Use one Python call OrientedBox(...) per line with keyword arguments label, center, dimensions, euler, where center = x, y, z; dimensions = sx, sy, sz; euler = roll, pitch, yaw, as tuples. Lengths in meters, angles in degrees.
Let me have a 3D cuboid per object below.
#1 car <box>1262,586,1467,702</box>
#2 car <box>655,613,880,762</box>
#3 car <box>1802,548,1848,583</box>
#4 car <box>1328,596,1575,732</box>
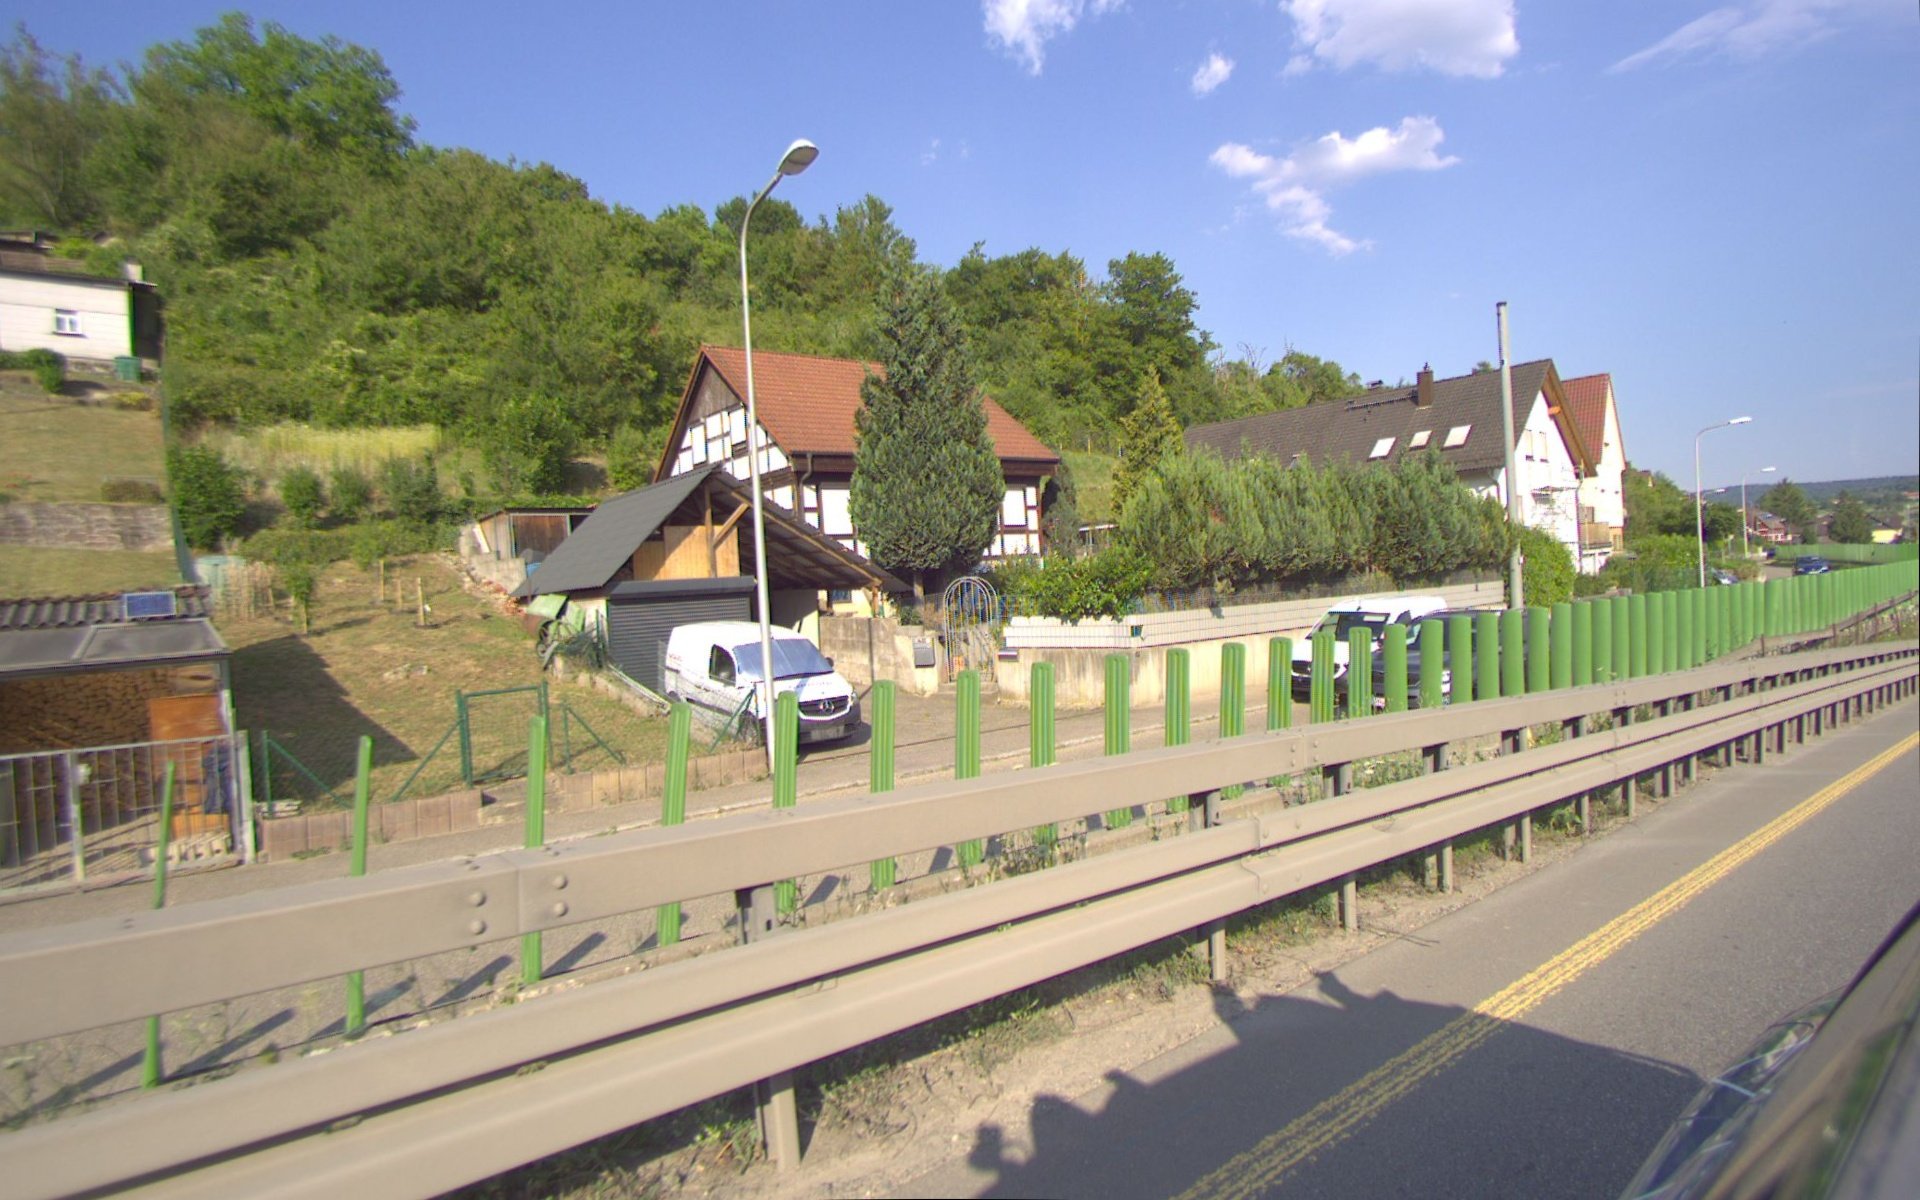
OrientedBox(label="car", center=(7.928, 0.770, 19.655), dimensions=(4.363, 1.894, 1.810), euler=(-3, 0, -40))
OrientedBox(label="car", center=(-3.218, 1.255, 16.340), dimensions=(1.819, 1.757, 4.141), euler=(-3, 4, -39))
OrientedBox(label="car", center=(55.866, -2.206, 65.425), dimensions=(1.699, 2.040, 3.951), euler=(-3, -2, 34))
OrientedBox(label="car", center=(7.705, 0.907, 15.718), dimensions=(4.173, 1.836, 1.885), euler=(0, -3, -41))
